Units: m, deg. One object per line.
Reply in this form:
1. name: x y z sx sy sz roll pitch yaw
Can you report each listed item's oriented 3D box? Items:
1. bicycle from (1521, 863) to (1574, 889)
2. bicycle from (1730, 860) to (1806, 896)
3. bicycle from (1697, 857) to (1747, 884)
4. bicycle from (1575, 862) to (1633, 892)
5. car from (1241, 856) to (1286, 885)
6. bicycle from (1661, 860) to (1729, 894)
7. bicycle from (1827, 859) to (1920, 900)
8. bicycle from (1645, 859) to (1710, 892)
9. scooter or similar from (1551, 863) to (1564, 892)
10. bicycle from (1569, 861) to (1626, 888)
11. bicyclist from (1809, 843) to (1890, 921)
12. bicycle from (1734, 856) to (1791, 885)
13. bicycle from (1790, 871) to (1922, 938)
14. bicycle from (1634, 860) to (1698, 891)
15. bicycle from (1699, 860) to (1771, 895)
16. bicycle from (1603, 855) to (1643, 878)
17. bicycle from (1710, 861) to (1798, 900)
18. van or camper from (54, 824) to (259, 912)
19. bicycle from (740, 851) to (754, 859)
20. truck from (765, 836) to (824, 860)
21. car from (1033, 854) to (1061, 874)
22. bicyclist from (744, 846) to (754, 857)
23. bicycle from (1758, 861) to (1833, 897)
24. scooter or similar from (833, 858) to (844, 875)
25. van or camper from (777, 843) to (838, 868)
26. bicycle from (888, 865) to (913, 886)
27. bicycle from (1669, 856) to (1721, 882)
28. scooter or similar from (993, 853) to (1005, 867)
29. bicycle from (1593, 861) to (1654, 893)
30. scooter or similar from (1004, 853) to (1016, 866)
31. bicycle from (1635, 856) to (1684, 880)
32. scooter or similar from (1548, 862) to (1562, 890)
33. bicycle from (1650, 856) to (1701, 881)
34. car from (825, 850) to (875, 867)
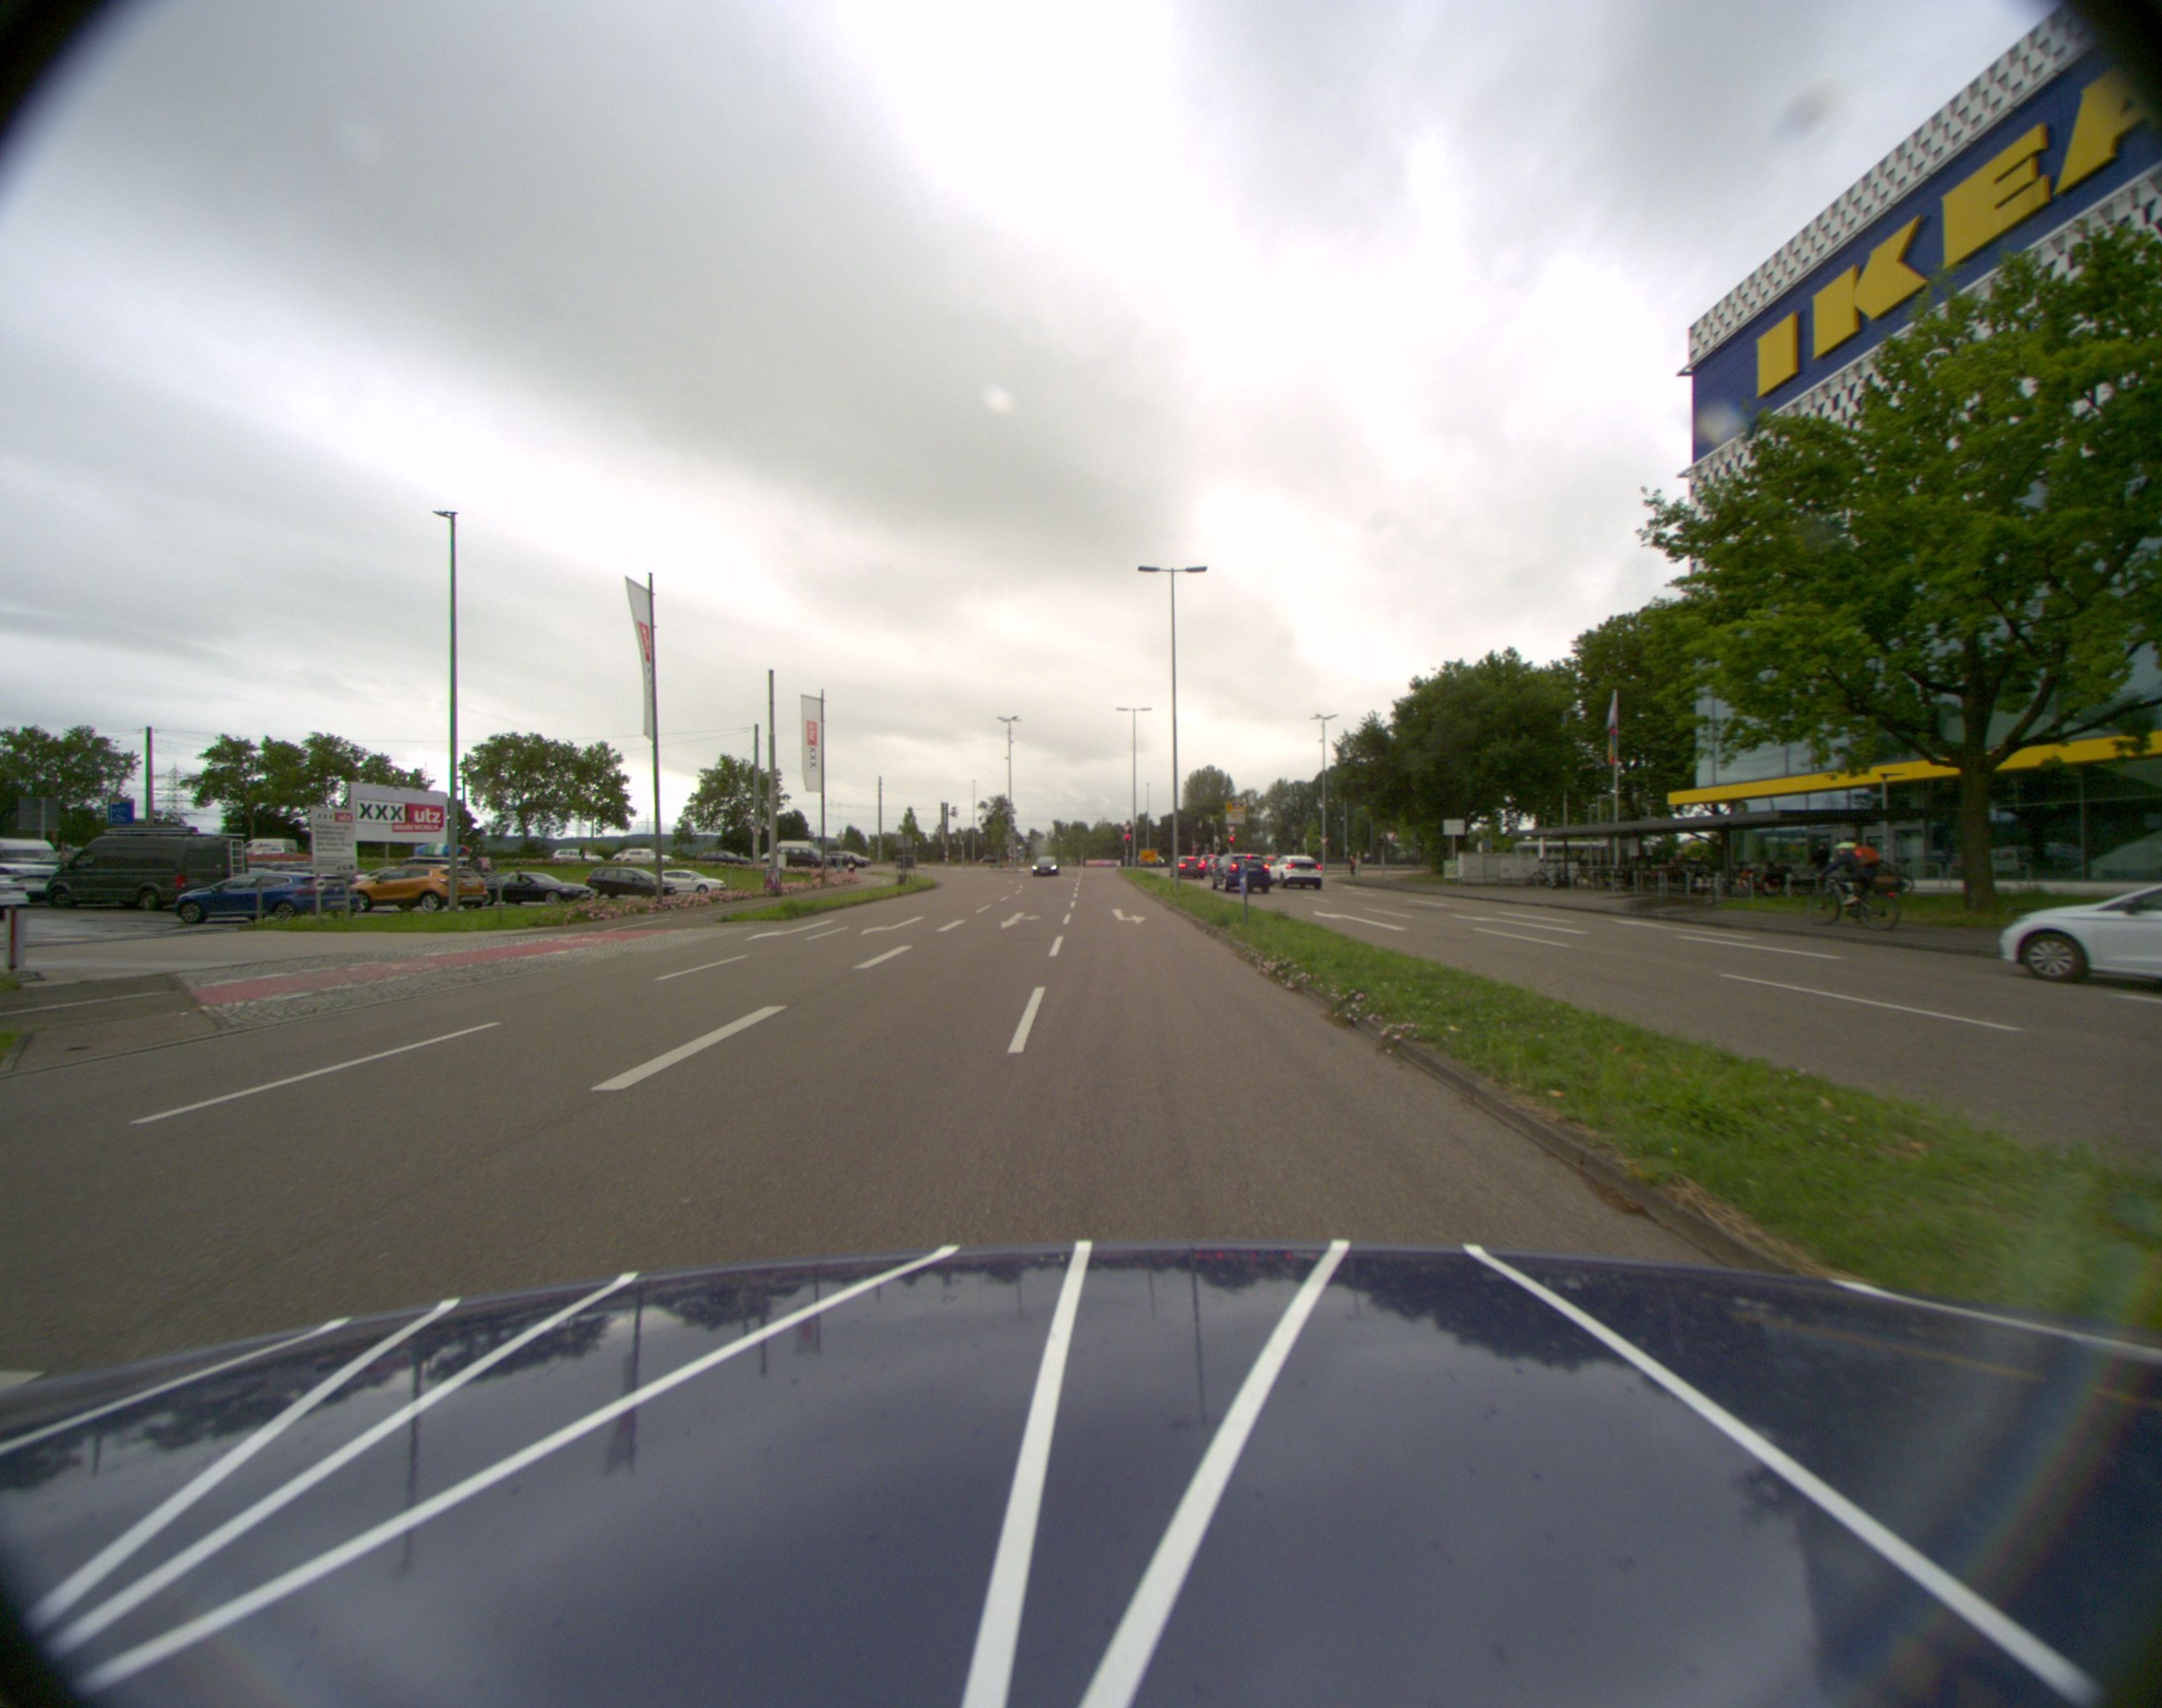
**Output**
1. bicycle: 21.072 0.986 34.352 2.020 1.150 0.594 -1 0 1
2. bicycle: 23.467 0.812 25.977 2.020 1.150 0.594 -2 0 1
3. bicycle: 29.474 0.735 34.941 2.023 1.150 0.593 -2 0 -12
4. bicycle: 21.230 0.929 30.834 1.898 1.150 0.594 -2 0 1
5. car: 10.293 0.895 43.128 1.606 1.489 4.037 1 1 0
6. bicycle: 22.925 0.862 28.395 2.020 1.150 0.594 -2 0 1
7. bicycle: 23.391 0.752 22.450 2.020 1.116 0.594 -2 0 3
8. bicycle: 23.249 0.831 29.613 2.020 1.150 0.594 -2 0 1
9. scooter or similar: 20.111 0.978 32.075 0.423 1.142 1.351 -2 0 33
10. bicycle: 23.170 0.924 34.107 2.018 1.150 0.594 -2 0 17
11. bicyclist: 16.042 0.571 15.891 0.642 1.568 1.000 -2 0 1
12. bicycle: 29.533 0.696 32.924 2.021 1.150 0.593 -2 0 -5
13. bicycle: 16.076 1.006 15.845 0.644 1.243 2.056 -2 0 1
14. bicycle: 23.332 0.856 30.320 2.020 1.150 0.594 -2 0 1
15. bicycle: 23.474 0.836 27.279 2.020 1.150 0.594 -2 0 1
16. bicycle: 29.546 0.689 41.396 2.023 1.150 0.593 -2 0 -15
17. bicycle: 21.605 0.845 24.428 2.018 1.150 0.594 -2 0 16
18. van or camper: -32.414 0.480 26.715 5.390 2.966 1.992 0 1 8
19. bicycle: -44.094 0.107 100.307 1.709 1.040 0.548 1 2 -8
20. truck: -36.821 -0.715 97.915 6.542 2.905 2.828 0 -2 -5
21. car: -2.558 0.756 58.054 1.999 1.383 4.343 -1 0 -1
22. bicyclist: -43.835 -0.295 100.284 0.968 1.445 0.691 1 2 -8
23. bicycle: 23.149 0.801 24.641 1.814 1.076 0.594 -2 0 1
24. scooter or similar: -17.758 0.890 55.544 0.347 1.226 1.162 -3 2 -37
25. van or camper: -24.307 0.129 67.499 4.743 2.003 2.126 1 3 17
26. bicycle: -9.546 1.115 40.229 0.664 1.042 1.692 -1 1 7
27. bicycle: 29.527 0.708 36.561 2.021 1.150 0.593 -2 0 -1
28. scooter or similar: -7.755 0.553 72.158 1.113 1.249 0.321 1 3 14
29. bicycle: 21.241 0.889 29.752 1.898 1.150 0.594 -2 0 1
30. scooter or similar: -6.786 0.505 72.562 1.016 1.249 0.465 1 2 14
31. bicycle: 29.591 0.709 38.899 2.021 1.150 0.593 -2 0 -1
32. scooter or similar: 20.925 0.951 33.555 0.358 1.178 1.295 -2 0 39
33. bicycle: 29.562 0.728 37.793 2.021 1.150 0.593 -2 0 -1
34. car: -21.917 0.428 72.183 4.200 1.455 1.839 -1 0 14
